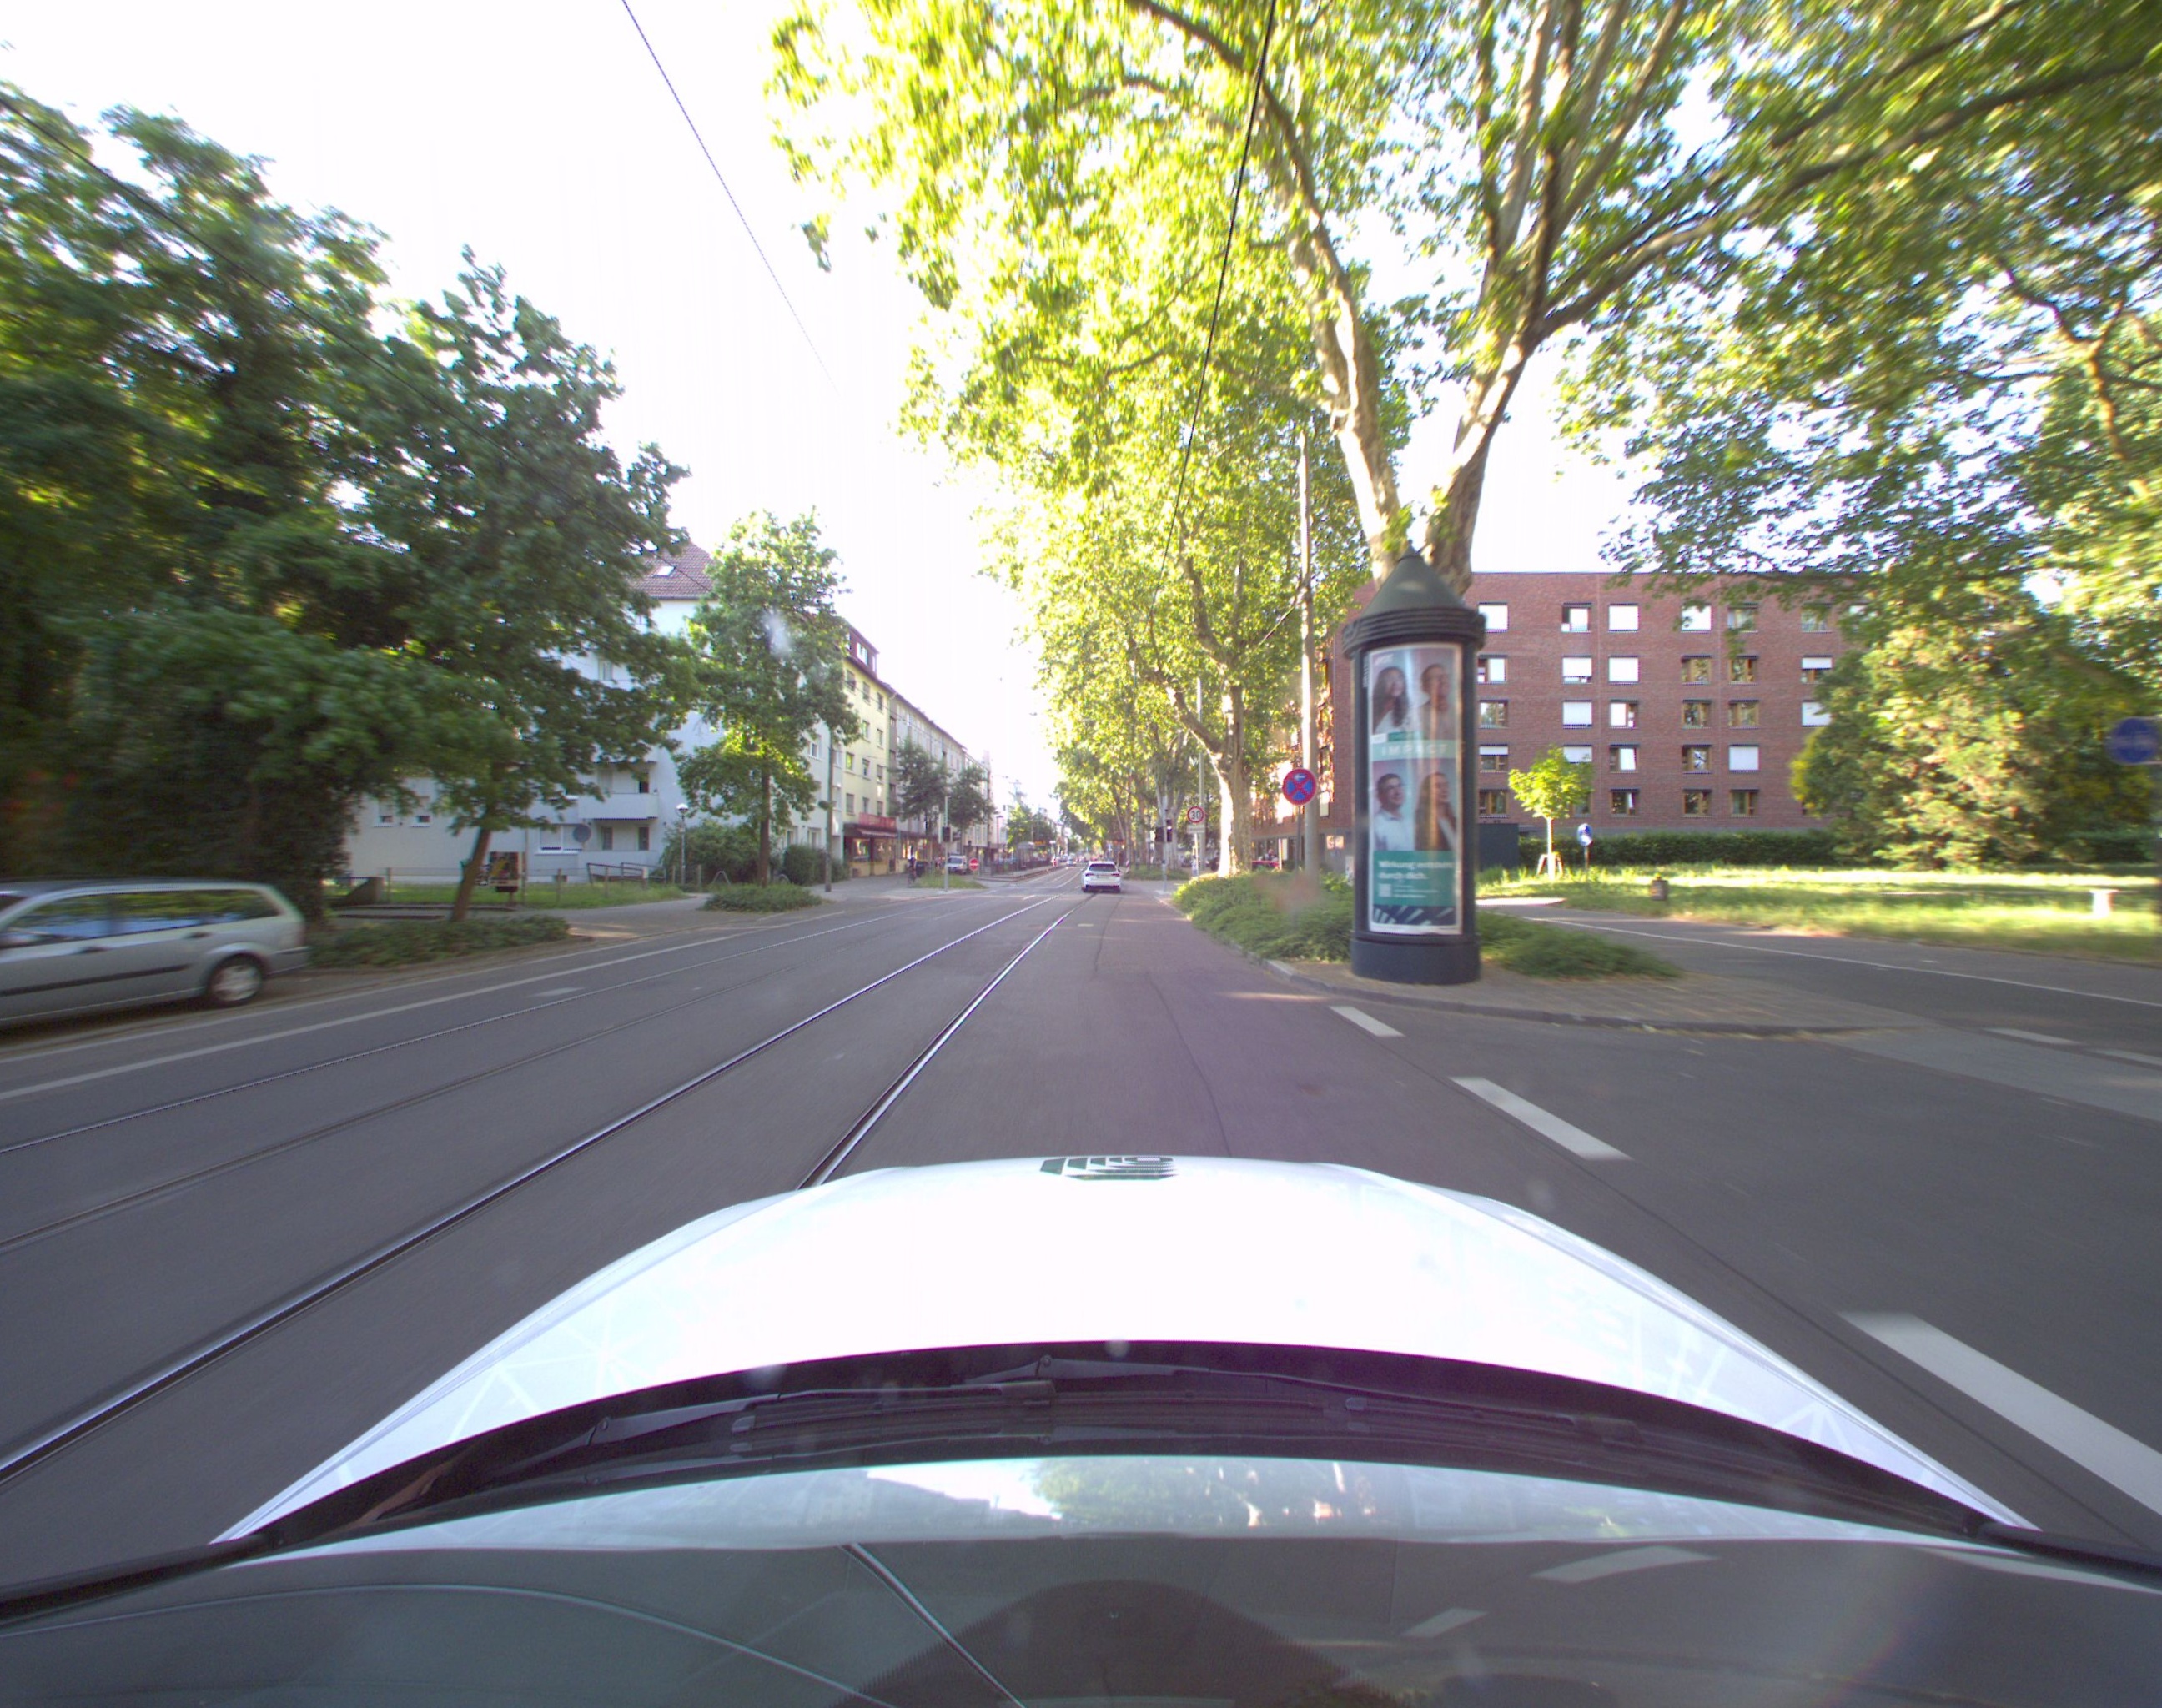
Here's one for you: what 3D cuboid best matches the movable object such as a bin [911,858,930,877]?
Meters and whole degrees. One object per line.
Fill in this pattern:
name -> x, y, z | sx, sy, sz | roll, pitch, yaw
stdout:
movable object such as a bin -> -11.846, 0.968, 60.103 | 1.167, 1.348, 0.782 | 3, -1, -4

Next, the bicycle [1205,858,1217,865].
bicycle -> 17.791, 1.026, 111.504 | 1.552, 1.037, 0.482 | 0, 0, 22

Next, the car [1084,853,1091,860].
car -> 1.850, 0.680, 236.675 | 1.859, 1.892, 4.000 | 0, 0, 1

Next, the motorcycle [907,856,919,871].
motorcycle -> -14.888, 0.860, 72.286 | 0.597, 1.311, 2.222 | 0, 0, 1

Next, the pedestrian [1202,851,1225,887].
pedestrian -> 6.700, 0.757, 41.184 | 0.992, 1.811, 0.863 | -1, 0, -5

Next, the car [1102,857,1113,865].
car -> 5.231, 1.415, 159.539 | 1.987, 1.453, 4.000 | 0, 0, 1

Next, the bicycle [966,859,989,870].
bicycle -> -11.212, 1.140, 88.242 | 2.244, 1.074, 0.636 | 3, 0, 1

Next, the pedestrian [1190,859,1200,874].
pedestrian -> 12.102, 1.350, 86.723 | 0.969, 1.623, 0.887 | 0, 0, 0

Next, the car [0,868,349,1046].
car -> -10.587, 0.965, 8.425 | 1.692, 1.550, 4.541 | 0, 0, 4

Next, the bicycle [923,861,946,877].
bicycle -> -11.166, 1.148, 62.171 | 1.529, 1.075, 0.885 | 3, 0, 0

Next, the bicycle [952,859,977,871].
bicycle -> -11.324, 1.087, 79.320 | 2.244, 1.074, 0.636 | 3, 0, 1

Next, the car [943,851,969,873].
car -> -11.244, 0.705, 73.290 | 1.682, 1.940, 4.000 | 0, 0, 1

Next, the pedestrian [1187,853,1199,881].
pedestrian -> 6.864, 0.803, 49.811 | 0.650, 1.669, 0.738 | 0, 0, 0

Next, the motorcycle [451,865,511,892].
motorcycle -> -23.672, 0.969, 32.155 | 1.866, 1.032, 0.597 | -1, 0, -2

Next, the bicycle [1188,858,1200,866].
bicycle -> 15.571, 1.078, 112.358 | 1.552, 1.037, 0.507 | 0, 0, 22

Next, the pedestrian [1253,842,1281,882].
pedestrian -> 9.045, 0.388, 39.650 | 0.981, 1.864, 1.014 | -4, 0, -5

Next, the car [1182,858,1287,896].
car -> 5.915, 0.889, 31.758 | 3.868, 1.423, 1.650 | -1, 0, 3

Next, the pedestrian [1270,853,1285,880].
pedestrian -> 12.089, 0.756, 50.056 | 0.733, 1.669, 0.834 | 0, 0, 0

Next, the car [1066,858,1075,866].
car -> -2.042, 1.481, 155.897 | 1.688, 1.419, 4.000 | 0, 0, 1

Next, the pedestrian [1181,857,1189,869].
pedestrian -> 13.721, 1.192, 107.101 | 0.969, 1.623, 0.887 | 0, 0, 0

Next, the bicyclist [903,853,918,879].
bicyclist -> -9.952, 0.702, 47.604 | 0.639, 1.455, 0.837 | -1, 0, 0

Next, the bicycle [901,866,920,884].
bicycle -> -9.935, 1.209, 47.591 | 0.639, 0.987, 2.101 | -1, 0, 0

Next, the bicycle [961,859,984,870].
bicycle -> -11.262, 1.108, 84.665 | 2.244, 1.074, 0.636 | 3, 0, 1

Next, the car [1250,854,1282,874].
car -> 13.944, 0.743, 61.393 | 1.595, 1.495, 3.416 | 0, 0, -1

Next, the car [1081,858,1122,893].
car -> 0.914, 0.959, 37.695 | 1.782, 1.513, 4.000 | 0, 0, 1

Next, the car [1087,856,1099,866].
car -> 1.924, 1.119, 131.800 | 1.782, 1.513, 4.000 | 0, 0, 1

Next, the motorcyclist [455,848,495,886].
motorcyclist -> -23.904, 0.506, 32.146 | 1.097, 1.449, 0.597 | -1, 0, -2

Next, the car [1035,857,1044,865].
car -> -8.749, 1.485, 172.131 | 1.672, 1.548, 4.000 | 2, 0, 1

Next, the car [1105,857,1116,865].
car -> 5.553, 1.387, 154.453 | 1.987, 1.453, 4.000 | 0, 0, 1
